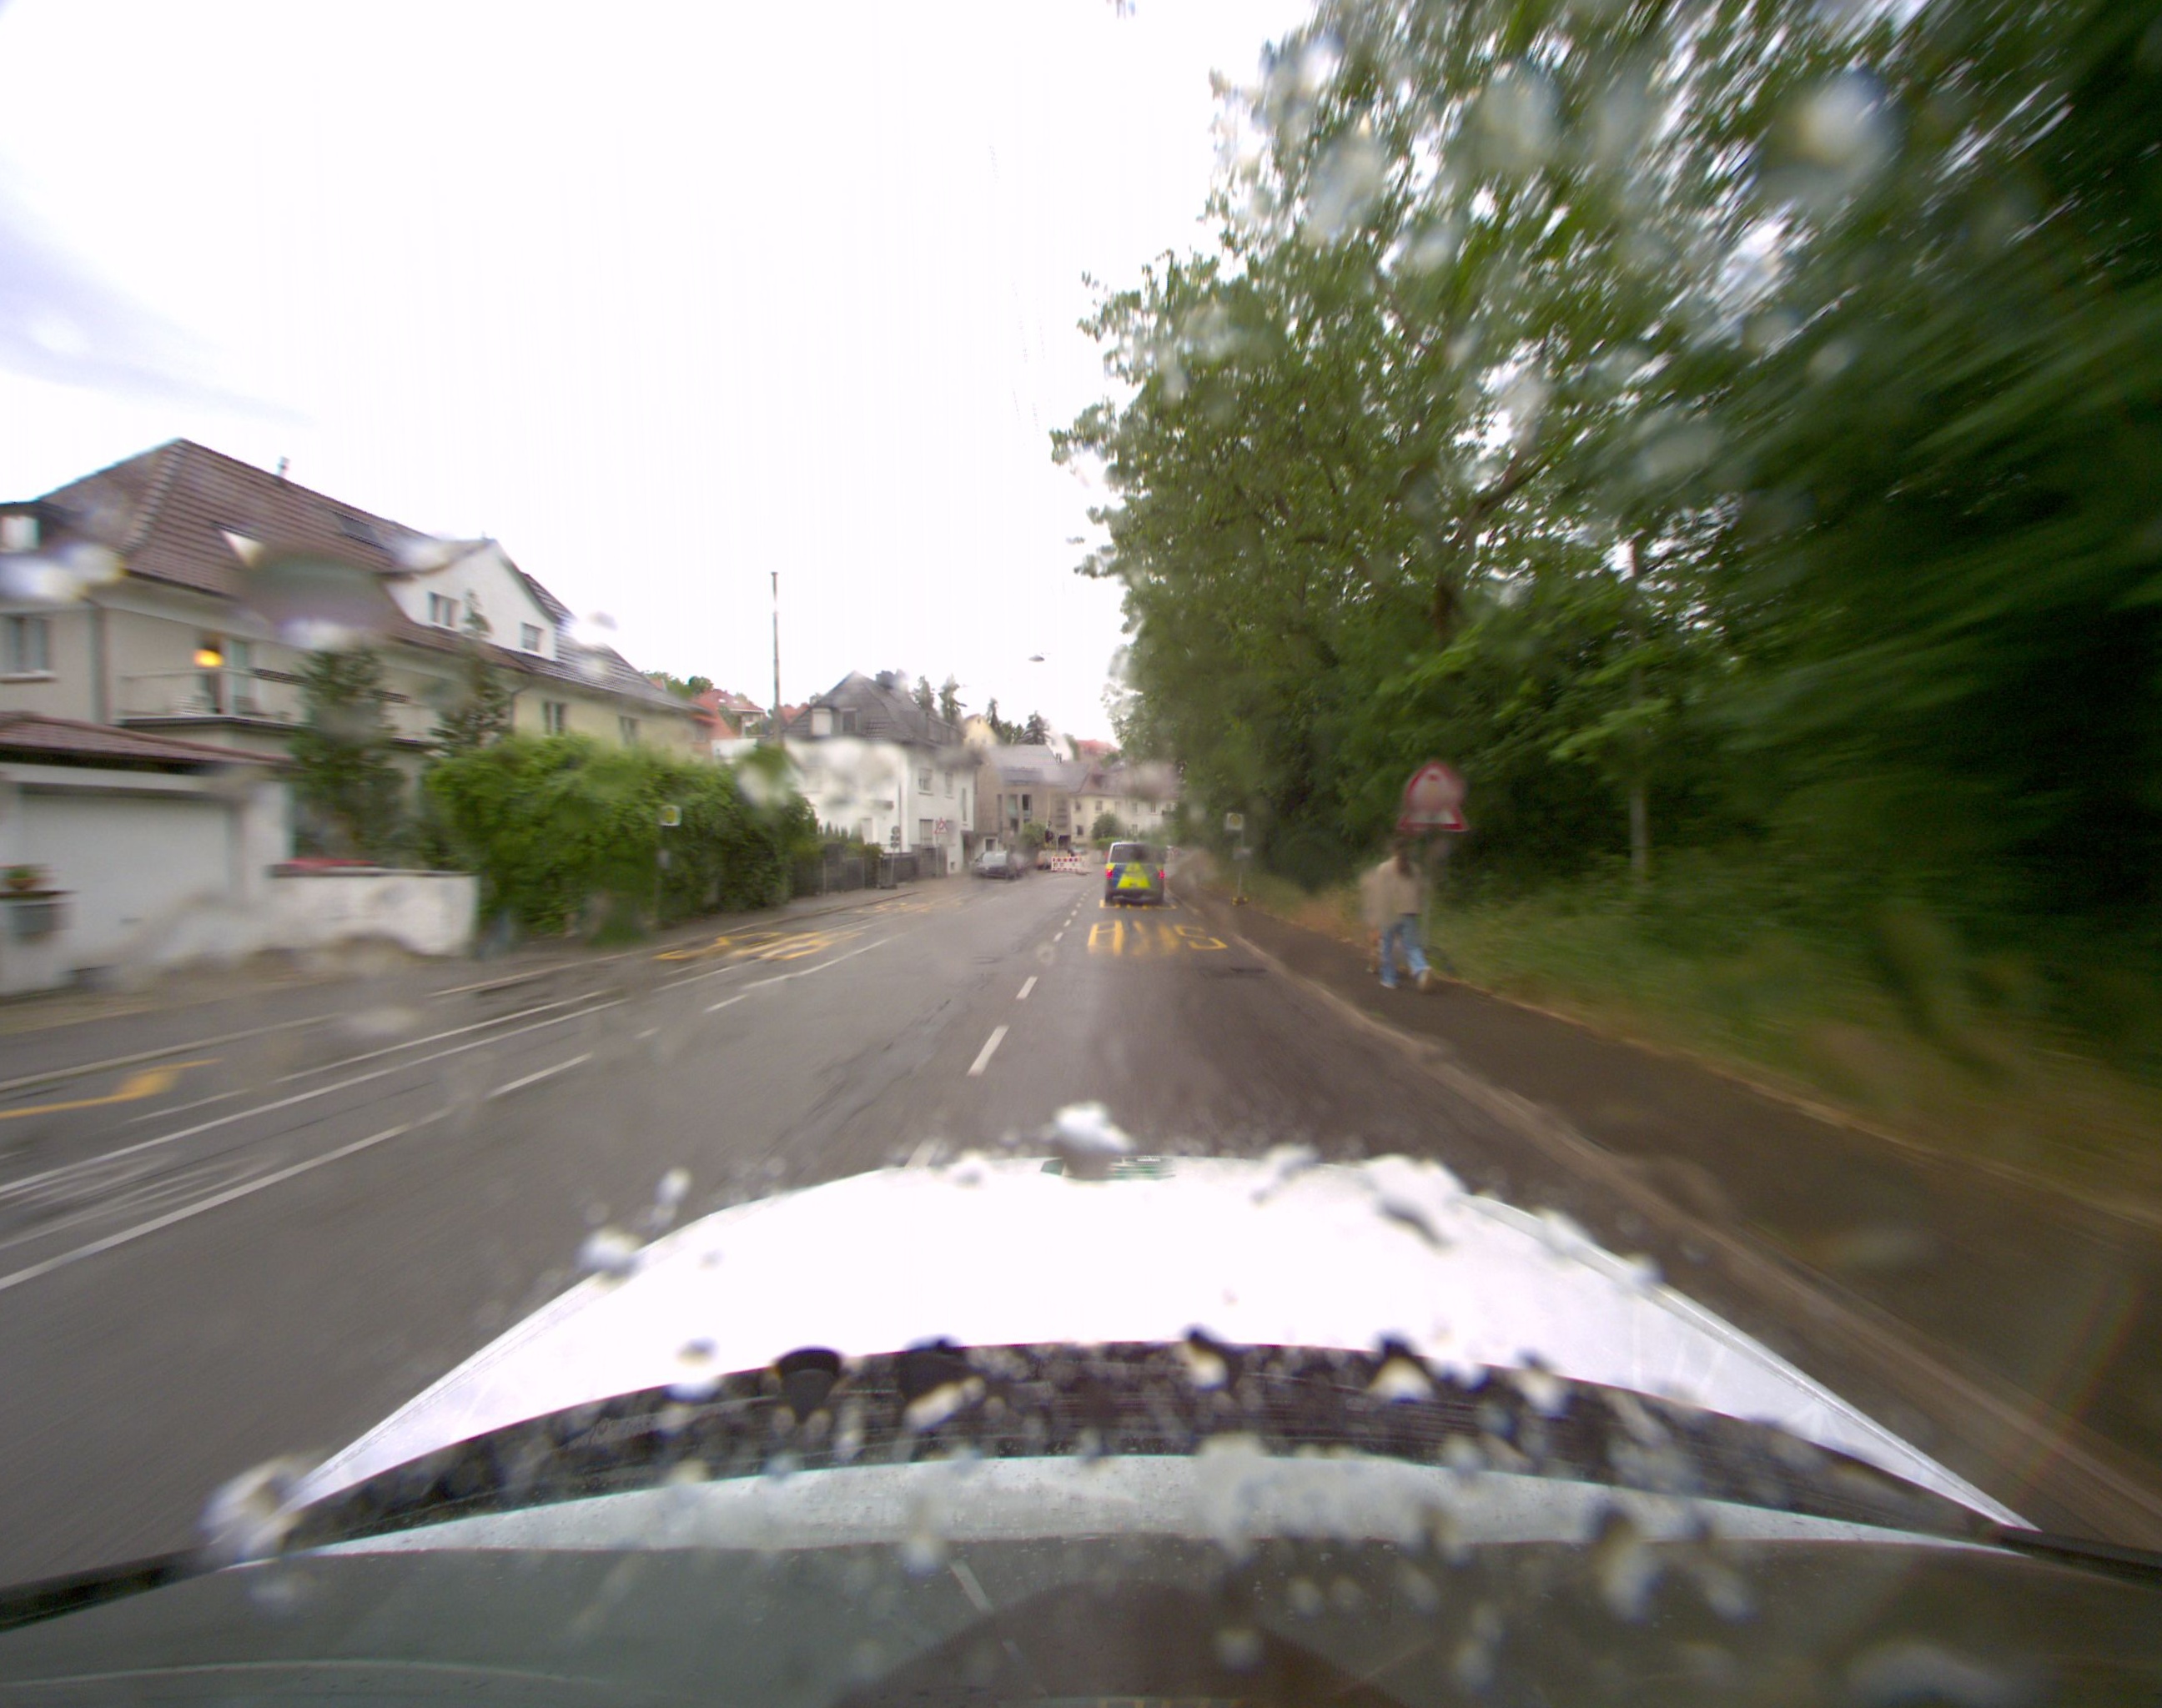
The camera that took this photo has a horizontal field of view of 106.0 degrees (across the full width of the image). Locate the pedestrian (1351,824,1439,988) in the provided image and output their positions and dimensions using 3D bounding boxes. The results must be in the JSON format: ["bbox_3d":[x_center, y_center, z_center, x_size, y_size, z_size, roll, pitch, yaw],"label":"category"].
[{"bbox_3d":[3.224,0.521,8.406,0.639,1.611,0.670,-1,-1,1],"label":"pedestrian"}]

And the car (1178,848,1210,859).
[{"bbox_3d":[16.028,-0.084,115.492,3.949,1.486,1.771,2,-1,32],"label":"car"}]

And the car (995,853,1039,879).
[{"bbox_3d":[-3.751,0.674,48.309,1.606,1.440,4.242,0,1,10],"label":"car"}]

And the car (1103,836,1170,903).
[{"bbox_3d":[1.852,0.463,26.851,1.984,2.013,4.407,-1,0,4],"label":"car"}]

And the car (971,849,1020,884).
[{"bbox_3d":[-4.446,0.604,42.819,1.746,1.658,4.410,-2,1,4],"label":"car"}]

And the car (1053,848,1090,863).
[{"bbox_3d":[-1.011,0.107,84.166,1.847,1.443,3.957,0,1,-36],"label":"car"}]

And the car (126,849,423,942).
[{"bbox_3d":[-14.215,0.709,14.496,3.629,1.423,1.635,2,-1,2],"label":"car"}]

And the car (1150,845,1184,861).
[{"bbox_3d":[11.281,-0.151,106.982,3.949,2.013,1.842,1,0,33],"label":"car"}]
